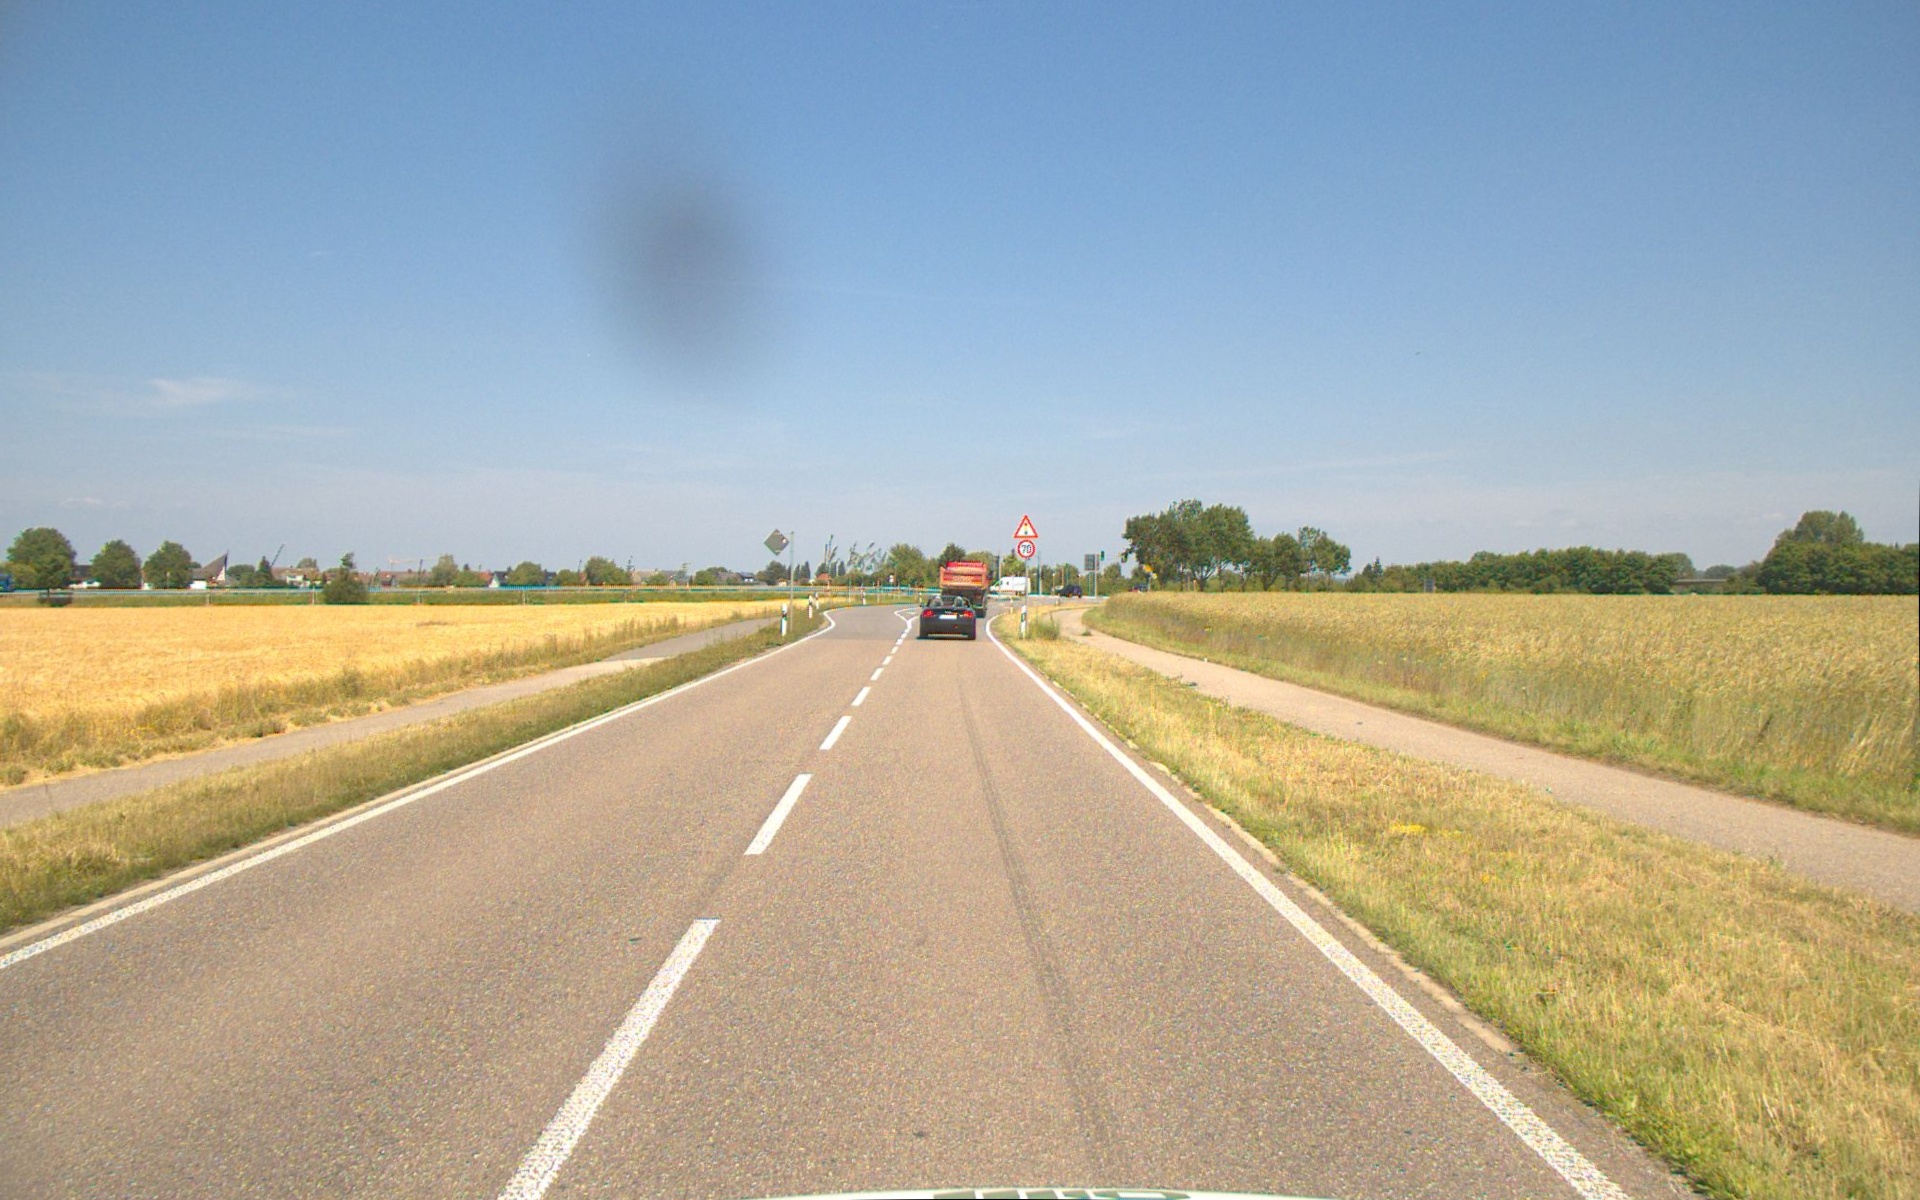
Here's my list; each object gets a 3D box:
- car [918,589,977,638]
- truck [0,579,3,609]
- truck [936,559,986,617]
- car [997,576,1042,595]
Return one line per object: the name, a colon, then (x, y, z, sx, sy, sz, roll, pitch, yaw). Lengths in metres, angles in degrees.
car: (-0.399, 0.415, 50.908, 1.712, 1.399, 3.678, 2, -1, -1)
truck: (-131.913, -0.839, 217.575, 9.922, 3.859, 2.613, 1, 1, -18)
truck: (0.006, -0.617, 93.669, 2.659, 3.106, 8.162, 1, -1, -1)
car: (8.180, -2.005, 228.241, 5.807, 2.464, 2.244, 1, 1, 30)
